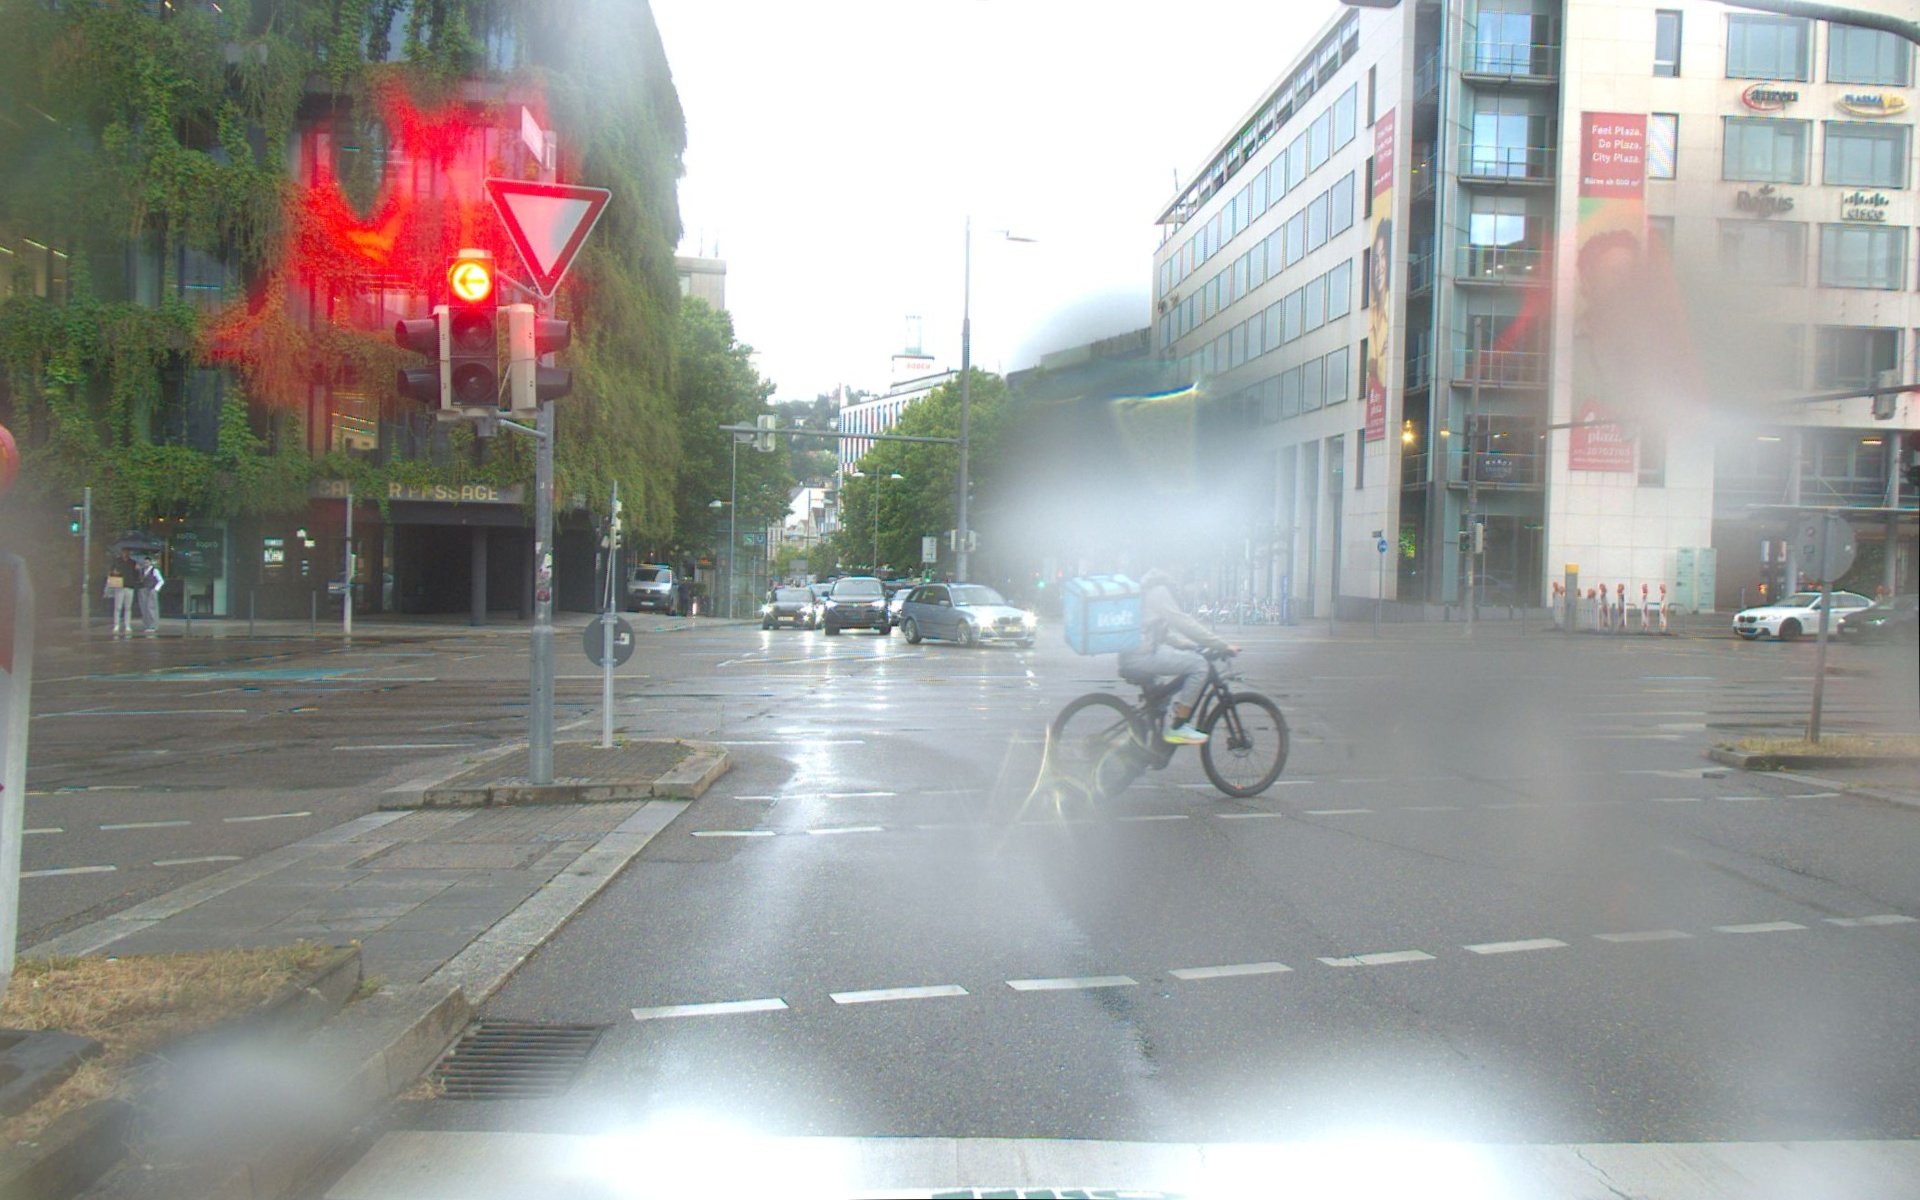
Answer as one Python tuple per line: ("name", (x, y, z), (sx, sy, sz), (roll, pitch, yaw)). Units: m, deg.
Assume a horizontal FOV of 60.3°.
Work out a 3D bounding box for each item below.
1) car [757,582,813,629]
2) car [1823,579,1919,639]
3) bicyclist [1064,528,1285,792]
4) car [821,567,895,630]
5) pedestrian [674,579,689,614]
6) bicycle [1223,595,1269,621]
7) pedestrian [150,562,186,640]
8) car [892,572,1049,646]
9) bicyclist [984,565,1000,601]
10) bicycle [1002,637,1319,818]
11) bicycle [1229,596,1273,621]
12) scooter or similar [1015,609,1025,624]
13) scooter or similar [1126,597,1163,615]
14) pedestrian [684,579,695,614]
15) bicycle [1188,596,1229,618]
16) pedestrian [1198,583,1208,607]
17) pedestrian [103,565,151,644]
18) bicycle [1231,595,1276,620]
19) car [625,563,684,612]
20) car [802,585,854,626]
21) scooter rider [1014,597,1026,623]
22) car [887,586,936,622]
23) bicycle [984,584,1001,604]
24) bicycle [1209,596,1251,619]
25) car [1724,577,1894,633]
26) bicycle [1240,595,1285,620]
("car", (-5.980, 0.162, 56.395), (1.820, 1.473, 4.615), (0, 1, -6))
("car", (26.777, 0.239, 46.342), (4.373, 1.626, 1.994), (0, 0, -13))
("bicyclist", (1.492, 0.389, 11.536), (1.280, 1.733, 0.840), (0, 0, -28))
("car", (-2.899, -0.091, 47.879), (1.924, 1.684, 4.364), (0, 2, -1))
("pedestrian", (-12.284, -0.158, 73.078), (0.595, 1.550, 0.587), (0, 0, -5))
("bicycle", (11.144, 0.303, 64.391), (1.767, 0.950, 0.473), (1, 0, 41))
("pedestrian", (-18.371, 0.022, 38.378), (0.731, 1.788, 0.969), (0, 0, -24))
("car", (0.169, 0.154, 37.766), (1.967, 1.512, 4.431), (-1, 2, -24))
("bicyclist", (1.811, -0.934, 92.615), (0.776, 2.009, 1.113), (1, 0, -5))
("bicycle", (1.412, 0.840, 11.527), (2.122, 1.122, 0.840), (0, 0, -30))
("bicycle", (11.742, 0.337, 66.753), (1.767, 0.950, 0.473), (1, 0, 41))
("scooter or similar", (4.156, 1.142, 113.850), (0.544, 1.024, 1.825), (0, 0, 7))
("scooter or similar", (8.926, 0.288, 79.968), (1.720, 0.894, 0.486), (0, 0, -20))
("pedestrian", (-11.958, -0.155, 73.098), (0.428, 1.550, 0.547), (0, 0, -5))
("bicycle", (10.956, 0.308, 72.918), (1.757, 0.950, 0.475), (1, 0, 2))
("pedestrian", (12.376, -0.255, 84.207), (0.347, 1.194, 0.413), (0, 0, -18))
("pedestrian", (-19.150, 0.092, 38.037), (0.923, 1.788, 1.163), (0, 0, -24))
("bicycle", (11.717, 0.301, 66.008), (1.767, 0.950, 0.473), (1, 0, 41))
("car", (-12.533, -0.505, 68.121), (1.955, 1.928, 4.460), (0, 0, -5))
("car", (-5.155, 0.198, 64.247), (1.821, 1.473, 4.614), (0, 1, -7))
("scooter rider", (4.132, 0.683, 113.891), (0.746, 1.805, 0.796), (0, 0, 6))
("car", (-2.099, 0.149, 70.405), (1.954, 1.469, 4.552), (1, 0, -4))
("bicycle", (1.826, -0.342, 92.531), (0.775, 1.136, 2.254), (1, 0, -3))
("bicycle", (11.601, 0.318, 71.080), (1.757, 0.950, 0.475), (1, 0, 2))
("car", (25.457, 0.155, 49.624), (4.378, 1.626, 1.992), (0, 0, -16))
("bicycle", (11.891, 0.303, 65.045), (1.767, 0.950, 0.473), (1, 0, 41))
